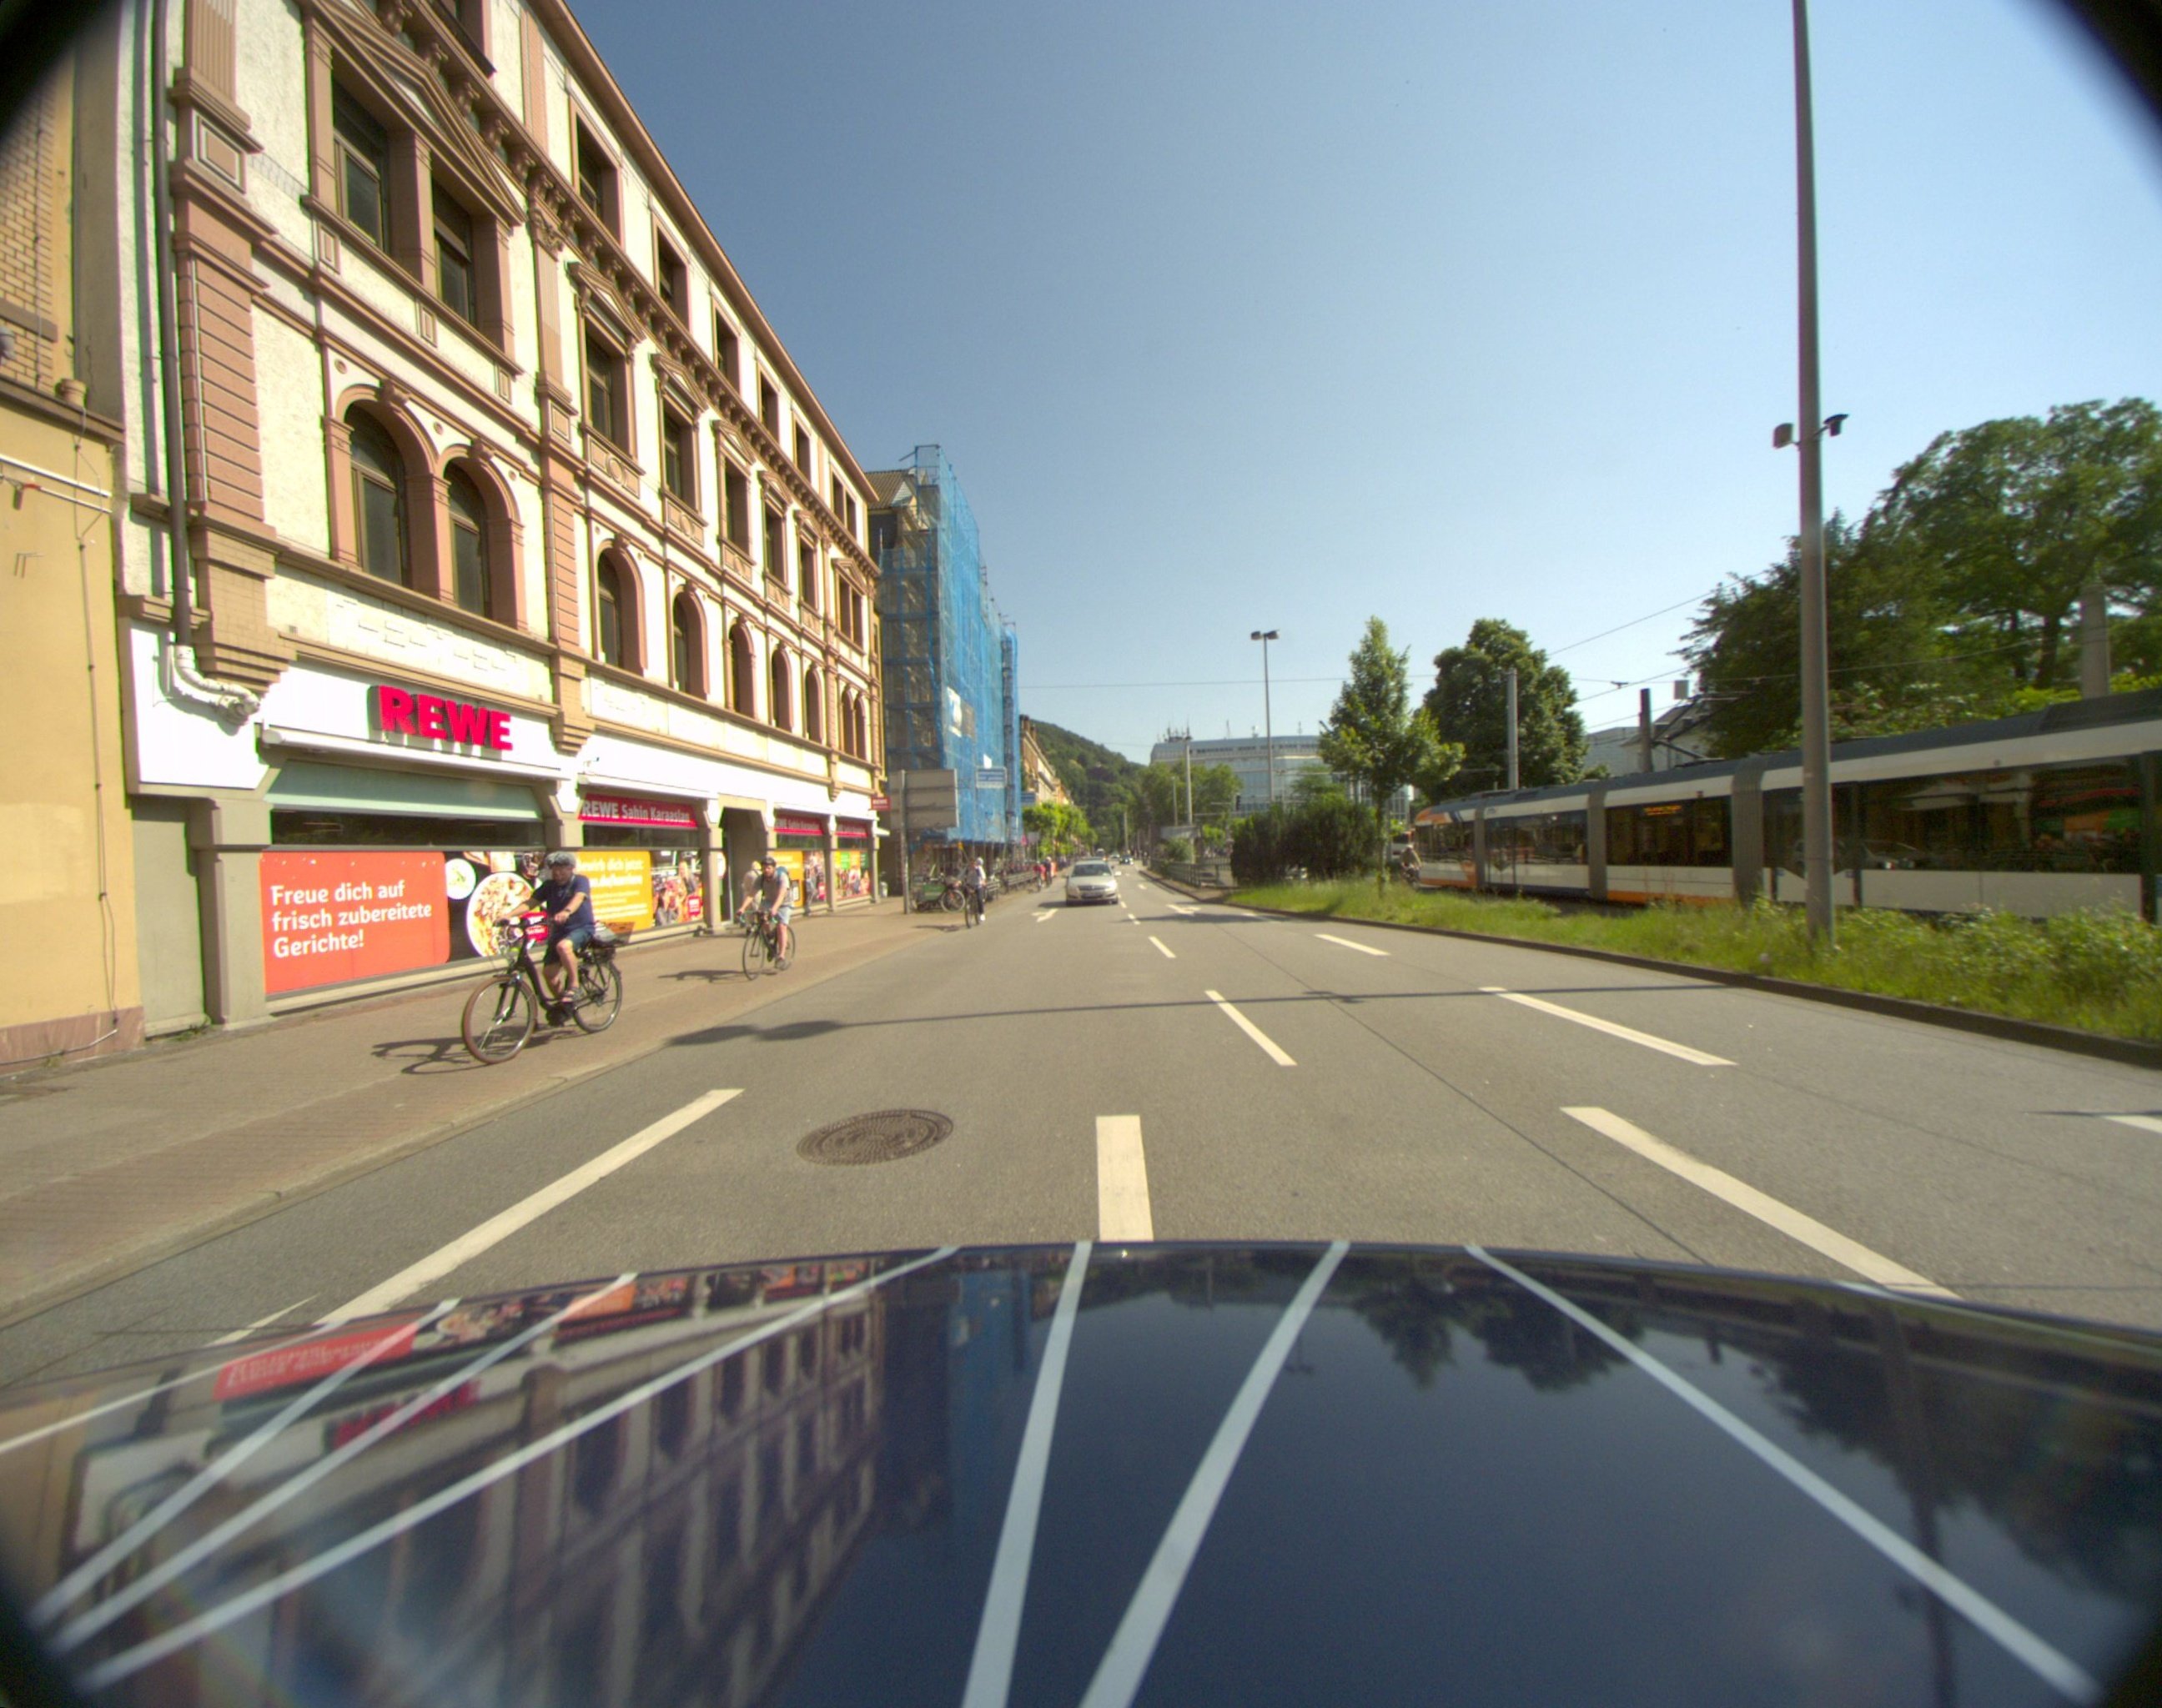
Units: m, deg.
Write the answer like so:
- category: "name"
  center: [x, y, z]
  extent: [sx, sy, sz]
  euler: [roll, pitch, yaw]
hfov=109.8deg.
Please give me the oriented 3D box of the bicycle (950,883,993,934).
- category: "bicycle"
  center: [-2.714, 1.328, 19.050]
  extent: [0.643, 1.076, 2.496]
  euler: [-1, 0, 1]

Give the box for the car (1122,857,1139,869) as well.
- category: "car"
  center: [6.520, 1.191, 101.306]
  extent: [1.998, 1.546, 4.497]
  euler: [-1, 0, 1]

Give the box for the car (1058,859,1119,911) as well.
- category: "car"
  center: [0.346, 0.958, 25.558]
  extent: [1.802, 1.492, 4.498]
  euler: [-2, 0, 3]

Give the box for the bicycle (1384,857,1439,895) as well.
- category: "bicycle"
  center: [10.450, 0.664, 24.124]
  extent: [0.643, 1.077, 2.496]
  euler: [-2, 1, 1]

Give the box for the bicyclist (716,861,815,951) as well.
- category: "bicyclist"
  center: [-4.632, 0.735, 11.258]
  extent: [0.912, 1.227, 1.233]
  euler: [-1, 0, 1]

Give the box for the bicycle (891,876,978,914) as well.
- category: "bicycle"
  center: [-4.466, 1.249, 23.212]
  extent: [2.493, 1.076, 0.644]
  euler: [-1, 0, 6]

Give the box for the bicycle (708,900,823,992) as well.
- category: "bicycle"
  center: [-4.646, 1.306, 11.415]
  extent: [0.643, 1.076, 2.496]
  euler: [-1, 0, 1]

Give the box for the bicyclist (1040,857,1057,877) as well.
- category: "bicyclist"
  center: [-1.833, 0.724, 42.998]
  extent: [0.912, 1.076, 1.233]
  euler: [-1, 0, 1]

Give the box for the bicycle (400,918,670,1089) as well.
- category: "bicycle"
  center: [-4.811, 1.241, 7.006]
  extent: [0.643, 1.076, 2.496]
  euler: [-1, 0, 1]

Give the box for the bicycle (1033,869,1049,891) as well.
- category: "bicycle"
  center: [-2.044, 1.315, 38.898]
  extent: [0.643, 1.076, 2.496]
  euler: [-1, 0, 1]

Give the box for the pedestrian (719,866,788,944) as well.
- category: "pedestrian"
  center: [-7.050, 1.070, 16.434]
  extent: [0.912, 1.591, 1.233]
  euler: [-1, 0, 1]

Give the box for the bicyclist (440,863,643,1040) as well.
- category: "bicyclist"
  center: [-4.811, 0.813, 6.894]
  extent: [0.912, 1.428, 1.233]
  euler: [-1, 0, 1]

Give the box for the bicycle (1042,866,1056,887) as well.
- category: "bicycle"
  center: [-1.805, 1.258, 42.966]
  extent: [0.643, 1.076, 2.496]
  euler: [-1, 0, 1]

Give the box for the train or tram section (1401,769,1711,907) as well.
- category: "train or tram section"
  center: [14.443, -0.395, 25.135]
  extent: [2.766, 3.383, 12.413]
  euler: [-1, 0, 2]

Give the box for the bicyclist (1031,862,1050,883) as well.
- category: "bicyclist"
  center: [-2.065, 0.939, 38.899]
  extent: [0.912, 1.062, 1.233]
  euler: [-1, 0, 1]

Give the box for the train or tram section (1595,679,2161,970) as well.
- category: "train or tram section"
  center: [14.101, -0.361, 12.859]
  extent: [2.766, 3.383, 12.413]
  euler: [-1, 0, 2]

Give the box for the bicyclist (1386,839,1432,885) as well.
- category: "bicyclist"
  center: [10.431, 0.252, 24.201]
  extent: [0.912, 1.385, 1.233]
  euler: [-1, 0, 1]

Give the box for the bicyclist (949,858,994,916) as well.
- category: "bicyclist"
  center: [-2.728, 0.817, 19.069]
  extent: [0.912, 1.385, 1.233]
  euler: [-1, 0, 1]
